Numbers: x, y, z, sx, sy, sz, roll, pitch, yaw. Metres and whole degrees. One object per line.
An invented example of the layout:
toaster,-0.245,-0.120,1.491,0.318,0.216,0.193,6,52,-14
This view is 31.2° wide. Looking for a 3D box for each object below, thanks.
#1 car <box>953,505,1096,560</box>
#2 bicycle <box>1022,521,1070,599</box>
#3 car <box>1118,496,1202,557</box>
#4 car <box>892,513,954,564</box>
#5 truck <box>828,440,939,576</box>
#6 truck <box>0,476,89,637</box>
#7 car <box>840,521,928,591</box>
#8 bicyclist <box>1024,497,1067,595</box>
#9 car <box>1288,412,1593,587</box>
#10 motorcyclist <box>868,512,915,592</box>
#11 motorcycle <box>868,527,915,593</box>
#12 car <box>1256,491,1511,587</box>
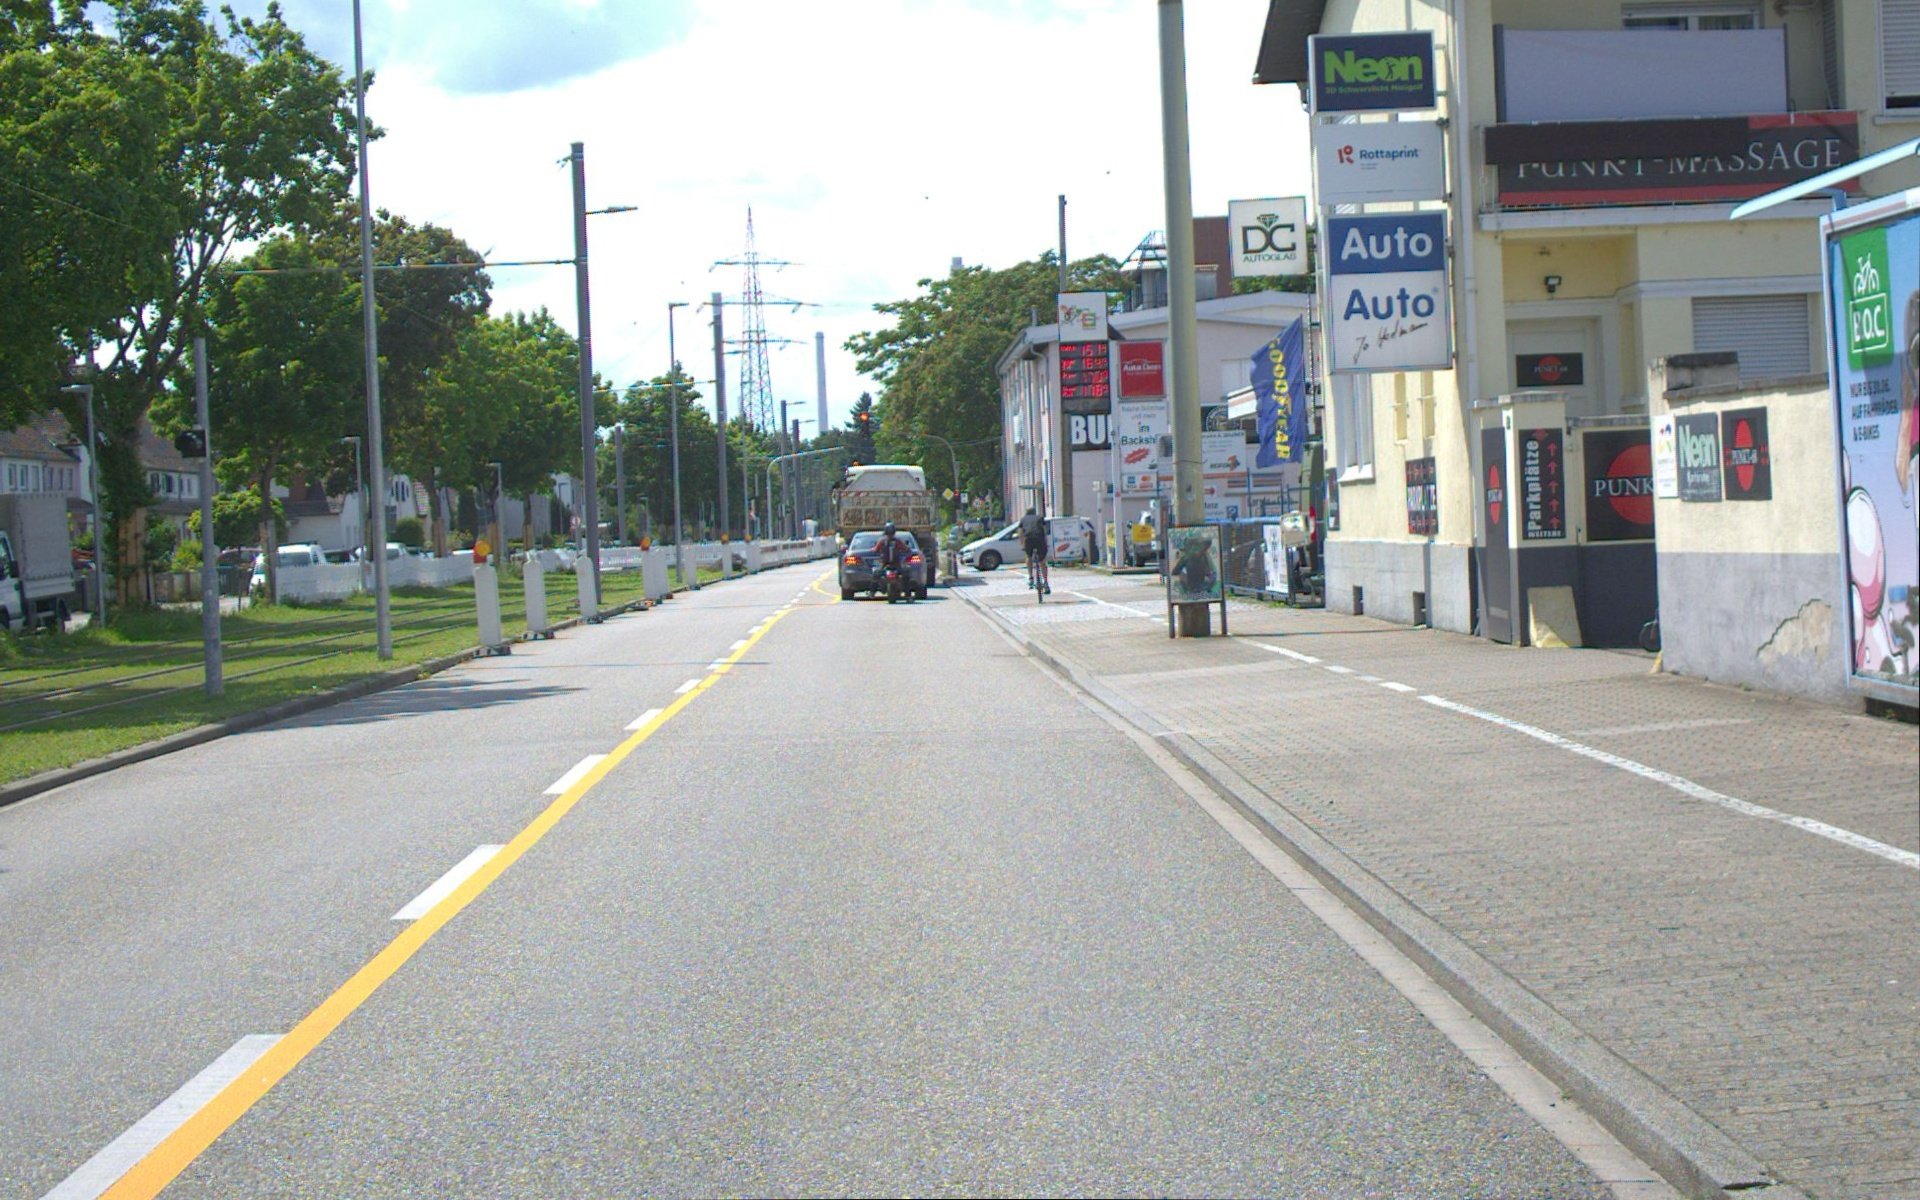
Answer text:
car,2.096,-2.206,112.153,4.329,1.546,1.950,-3,1,-9
bicycle,1.558,-0.734,62.397,0.693,1.357,2.419,-3,1,-1
car,5.889,-2.159,101.518,1.959,1.643,4.001,-3,1,-3
car,-1.118,-1.866,103.855,1.821,1.459,4.000,-2,1,-1
truck,-1.949,-2.498,90.612,2.610,3.244,9.183,-3,2,0
truck,-17.523,-0.744,61.821,1.993,2.758,6.277,-5,2,-1
car,-1.651,-0.978,74.660,1.821,1.419,4.000,-2,1,-1
bicyclist,1.542,-0.980,62.317,0.671,1.738,0.814,-2,1,-1
car,7.700,-1.609,55.442,4.537,2.564,2.151,-3,1,1
motorcyclist,-1.388,-0.977,70.006,0.939,1.609,1.205,0,1,-1
motorcycle,-1.393,-0.827,70.190,0.939,1.316,2.645,0,1,-1
car,7.164,-1.040,58.361,4.184,1.426,1.820,-2,1,6
